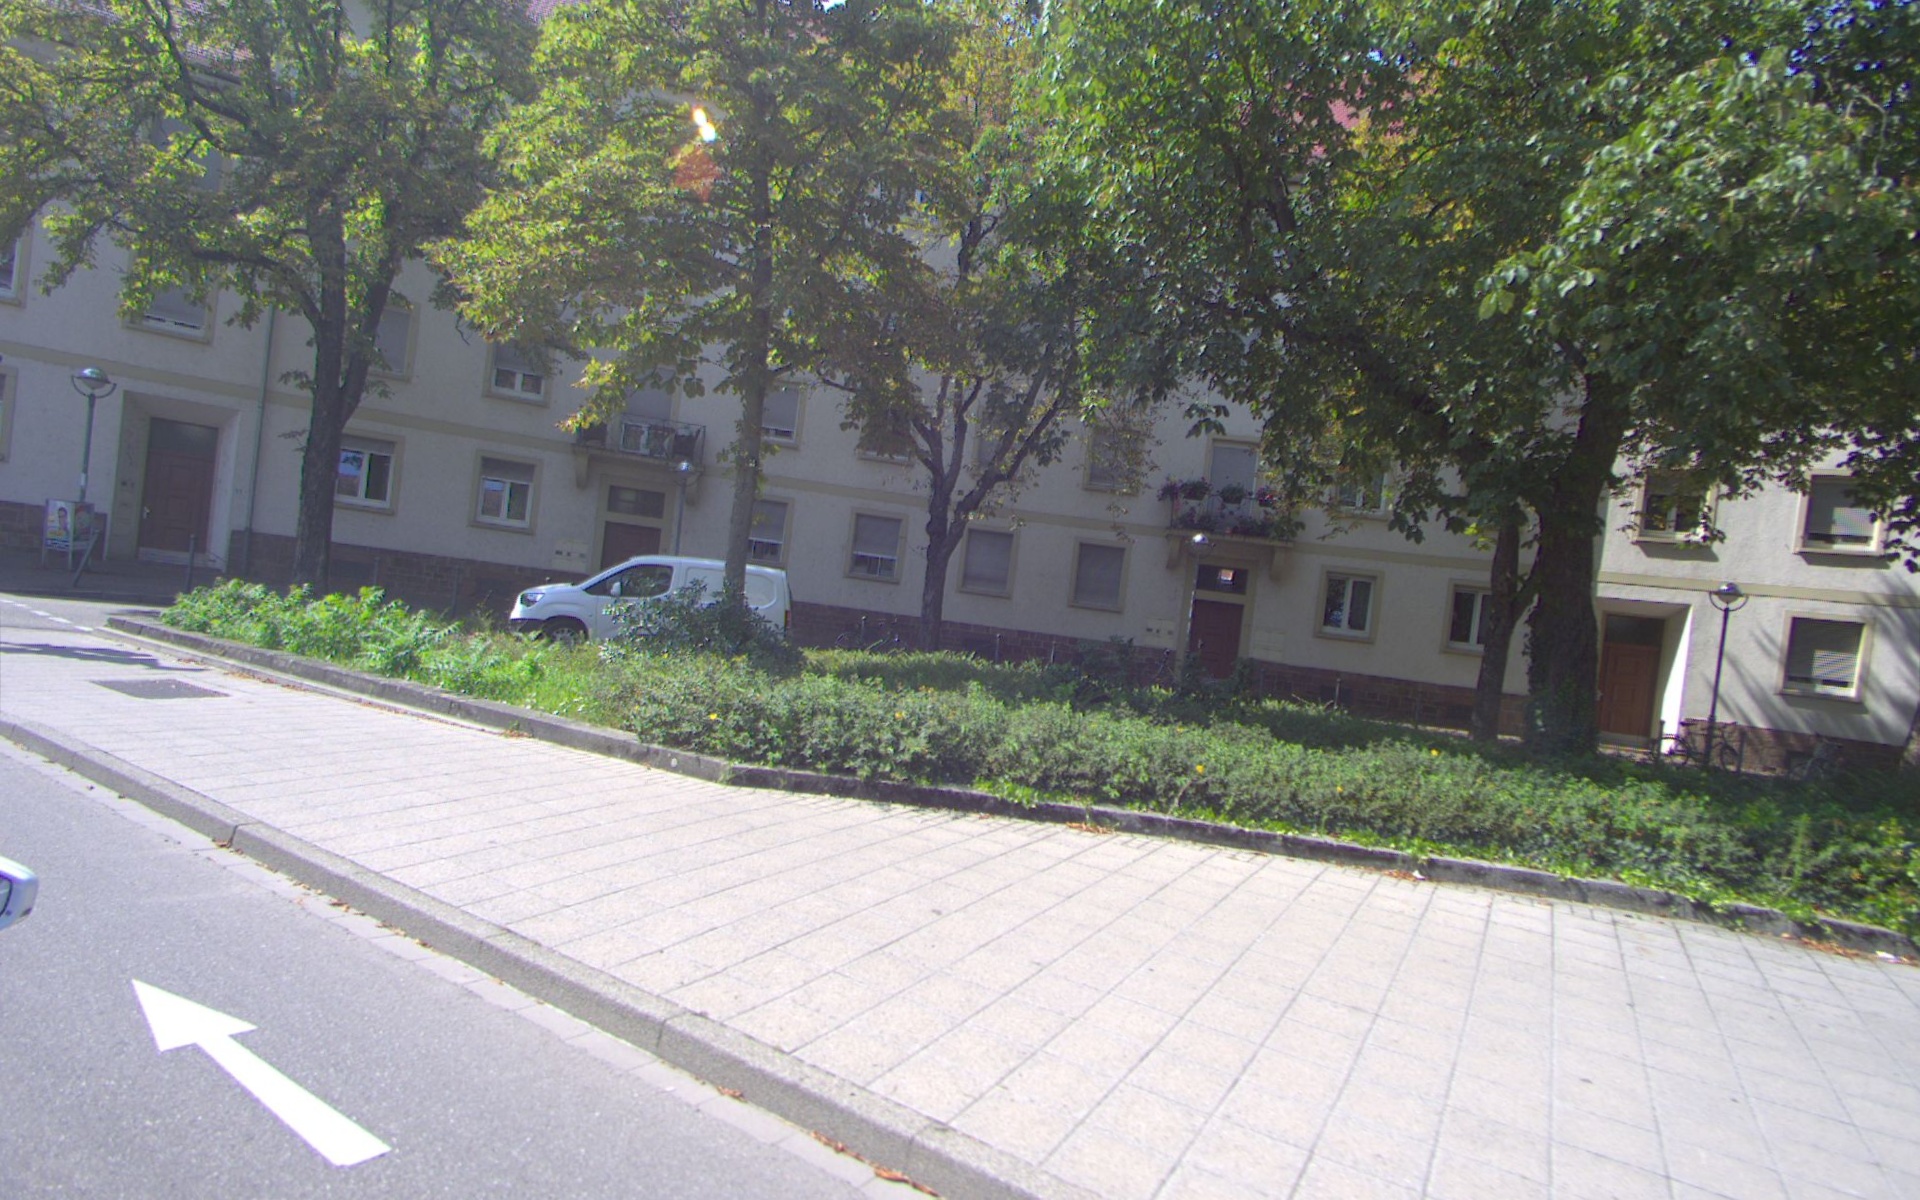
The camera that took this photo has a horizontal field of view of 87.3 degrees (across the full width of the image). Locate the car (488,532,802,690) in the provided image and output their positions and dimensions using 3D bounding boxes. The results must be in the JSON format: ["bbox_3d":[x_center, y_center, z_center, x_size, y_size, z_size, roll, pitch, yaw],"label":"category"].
[{"bbox_3d":[-4.860,0.191,16.021,4.346,1.834,1.799,7,0,-13],"label":"car"}]

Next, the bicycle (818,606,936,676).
[{"bbox_3d":[-1.724,0.832,21.088,2.226,1.141,0.810,7,3,9],"label":"bicycle"}]

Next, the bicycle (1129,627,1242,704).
[{"bbox_3d":[5.189,1.498,23.099,2.310,1.426,0.892,7,-1,19],"label":"bicycle"}]
